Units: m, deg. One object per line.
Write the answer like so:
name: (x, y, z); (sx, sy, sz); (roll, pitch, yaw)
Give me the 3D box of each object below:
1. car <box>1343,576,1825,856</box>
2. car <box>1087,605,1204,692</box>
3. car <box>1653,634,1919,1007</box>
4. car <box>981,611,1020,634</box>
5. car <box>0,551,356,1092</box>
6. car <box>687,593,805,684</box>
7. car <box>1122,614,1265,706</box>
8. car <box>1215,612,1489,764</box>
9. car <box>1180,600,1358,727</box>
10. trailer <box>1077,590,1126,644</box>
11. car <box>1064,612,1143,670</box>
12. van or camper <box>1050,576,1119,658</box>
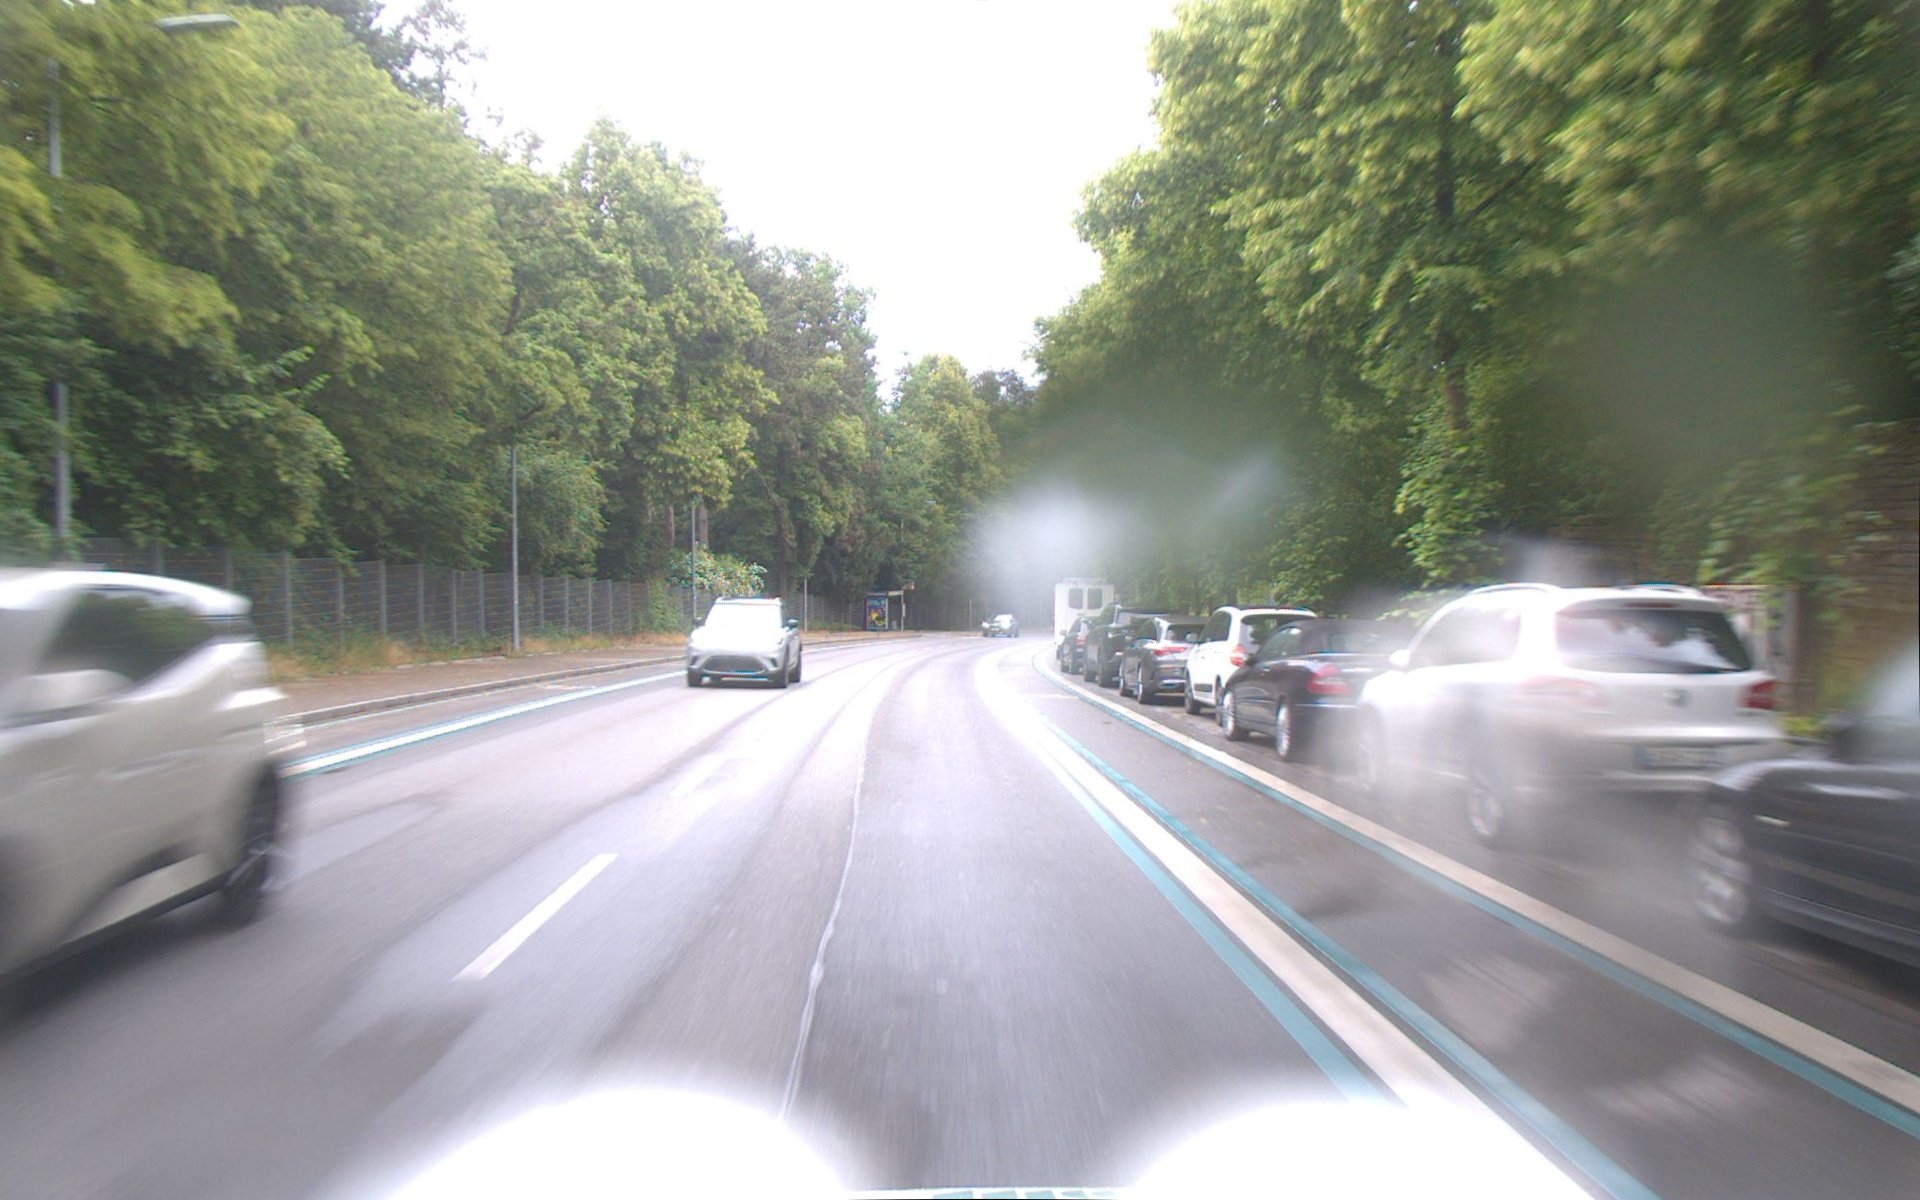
car: (4.197, 0.704, 11.919); (1.679, 1.647, 4.258); (0, 0, -3)
car: (3.798, 1.012, 34.615); (1.953, 1.674, 4.347); (0, -2, 0)
car: (4.486, 0.850, 6.347); (1.639, 1.418, 4.448); (0, -1, -3)
car: (2.601, 1.430, 105.760); (1.722, 1.462, 4.154); (1, 0, 12)
car: (-3.816, 0.633, 6.030); (1.932, 1.579, 3.868); (0, 0, -3)
car: (-3.967, 0.710, 31.267); (1.760, 1.604, 4.101); (0, -1, -1)
car: (3.802, 0.964, 27.654); (1.738, 1.372, 4.465); (1, -1, 0)
car: (3.995, 0.891, 17.662); (1.683, 1.400, 4.556); (0, -2, -2)
car: (4.166, 0.823, 22.807); (1.628, 1.562, 3.740); (1, -1, -2)
trailer: (7.555, 0.921, 87.680); (2.267, 2.719, 5.380); (1, -1, 8)
car: (3.610, 1.043, 42.156); (1.644, 1.400, 3.999); (0, -1, 0)
van or camper: (4.486, 0.606, 58.779); (2.268, 2.711, 6.386); (1, 0, 5)
